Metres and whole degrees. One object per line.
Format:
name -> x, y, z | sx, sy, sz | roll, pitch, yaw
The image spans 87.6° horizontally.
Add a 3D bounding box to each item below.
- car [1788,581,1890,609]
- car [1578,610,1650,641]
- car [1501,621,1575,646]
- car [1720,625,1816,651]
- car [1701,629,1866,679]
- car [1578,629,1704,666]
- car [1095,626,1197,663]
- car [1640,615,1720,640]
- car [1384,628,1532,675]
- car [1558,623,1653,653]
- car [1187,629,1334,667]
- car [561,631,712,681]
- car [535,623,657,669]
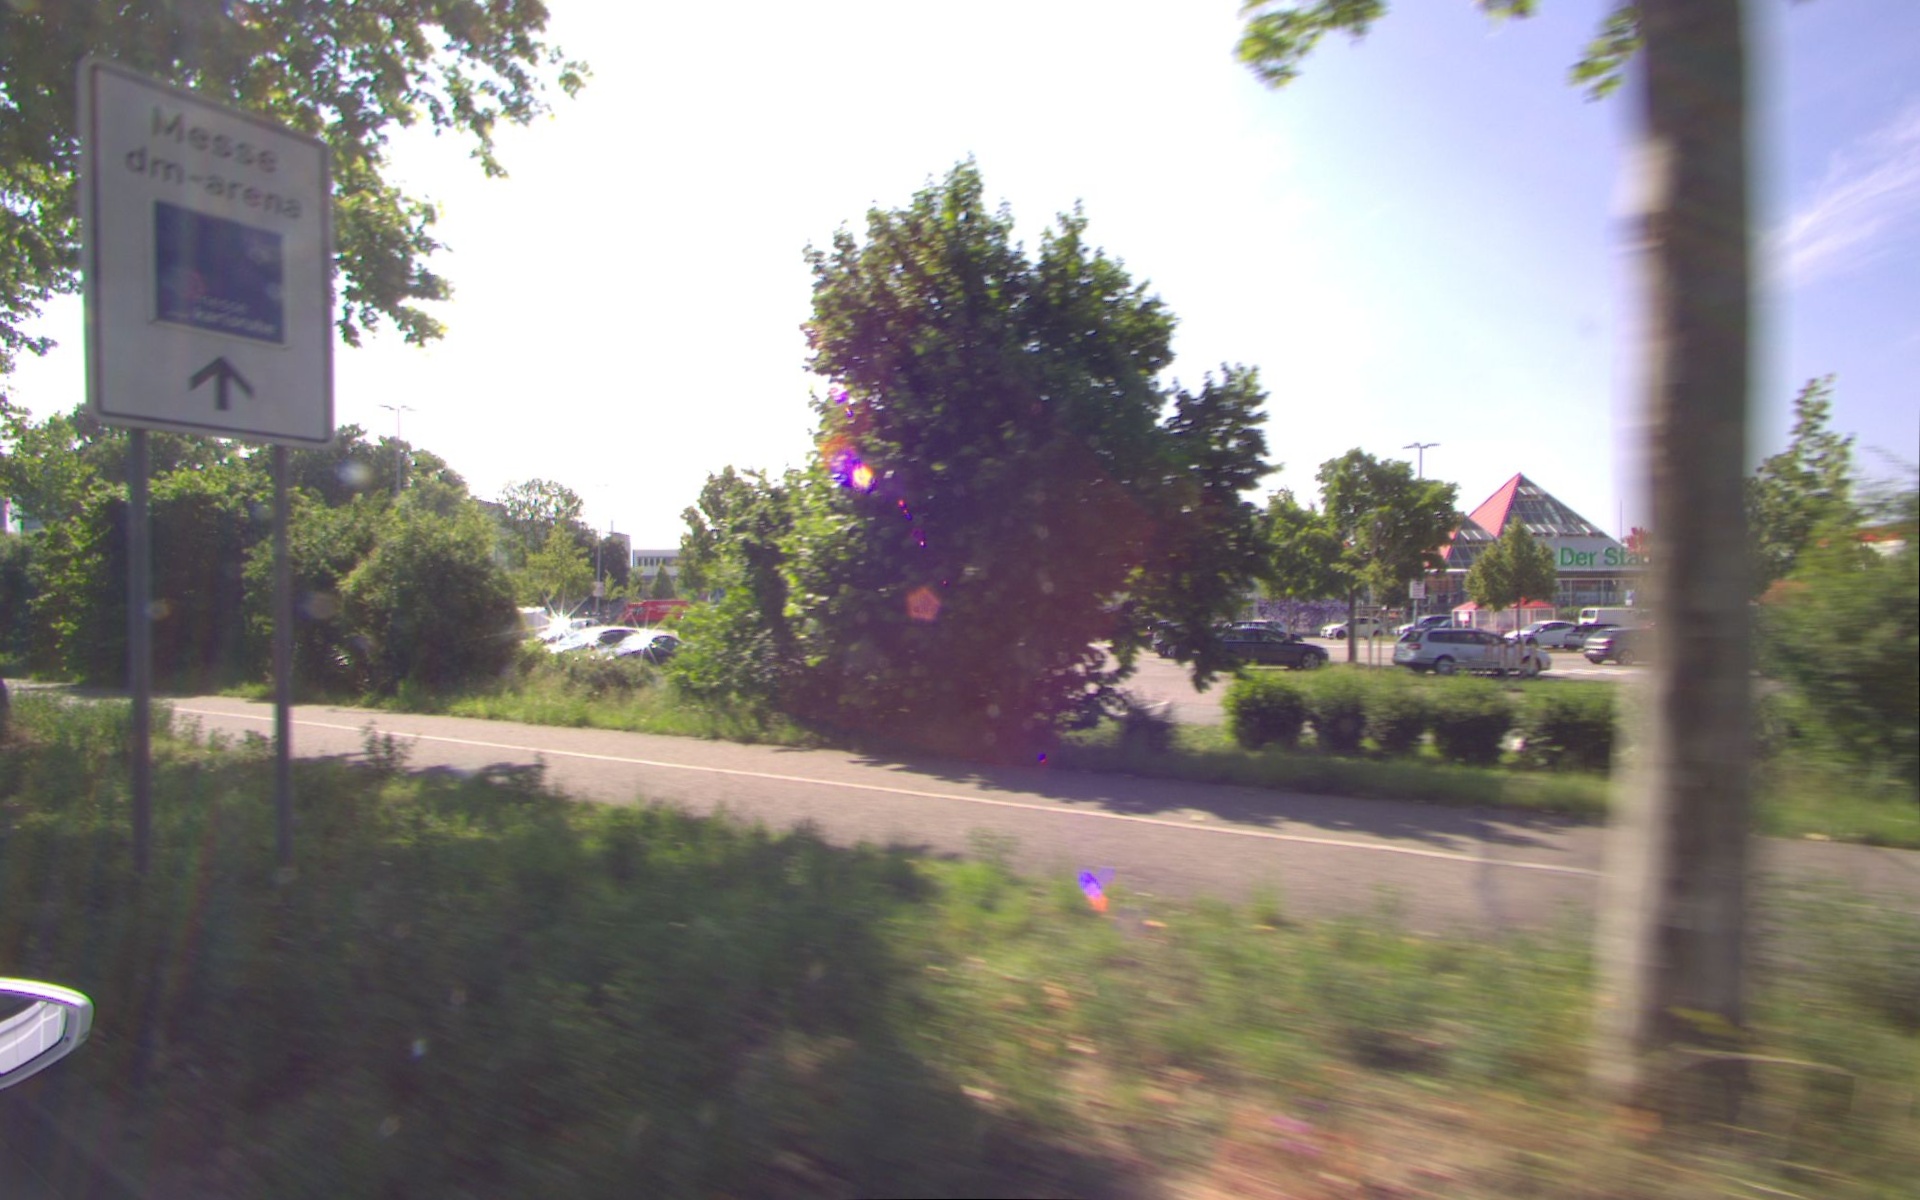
car -> 44.713, -0.254, 50.984 | 3.675, 1.326, 1.671 | 1, -2, 2
car -> 42.630, 1.637, 65.315 | 3.787, 1.972, 1.530 | 0, -1, -2
car -> 31.547, 1.826, 54.664 | 3.304, 1.314, 1.312 | 0, -1, -2
car -> 42.812, 2.030, 53.087 | 3.675, 1.326, 1.671 | 1, -2, 2
car -> 26.383, 1.713, 32.145 | 3.970, 1.523, 1.794 | 1, -1, -5
car -> 26.588, 1.854, 39.163 | 3.795, 1.382, 1.738 | 0, -1, -2
car -> 7.526, 1.805, 40.617 | 3.798, 1.460, 1.496 | 1, -2, -4
car -> 43.197, 1.673, 60.091 | 3.787, 1.456, 1.530 | 0, -1, -2
car -> 15.647, 1.606, 31.602 | 3.751, 1.288, 1.785 | 3, -1, 0
car -> 32.324, 1.889, 50.194 | 3.787, 1.456, 1.530 | 0, -1, -2
car -> 10.035, 1.602, 33.656 | 4.423, 1.220, 1.644 | 0, -1, 0
car -> -9.292, 1.557, 28.981 | 1.681, 1.327, 3.927 | 0, -2, 37
car -> -11.118, 1.392, 30.743 | 1.427, 1.327, 3.312 | 0, -1, 37
